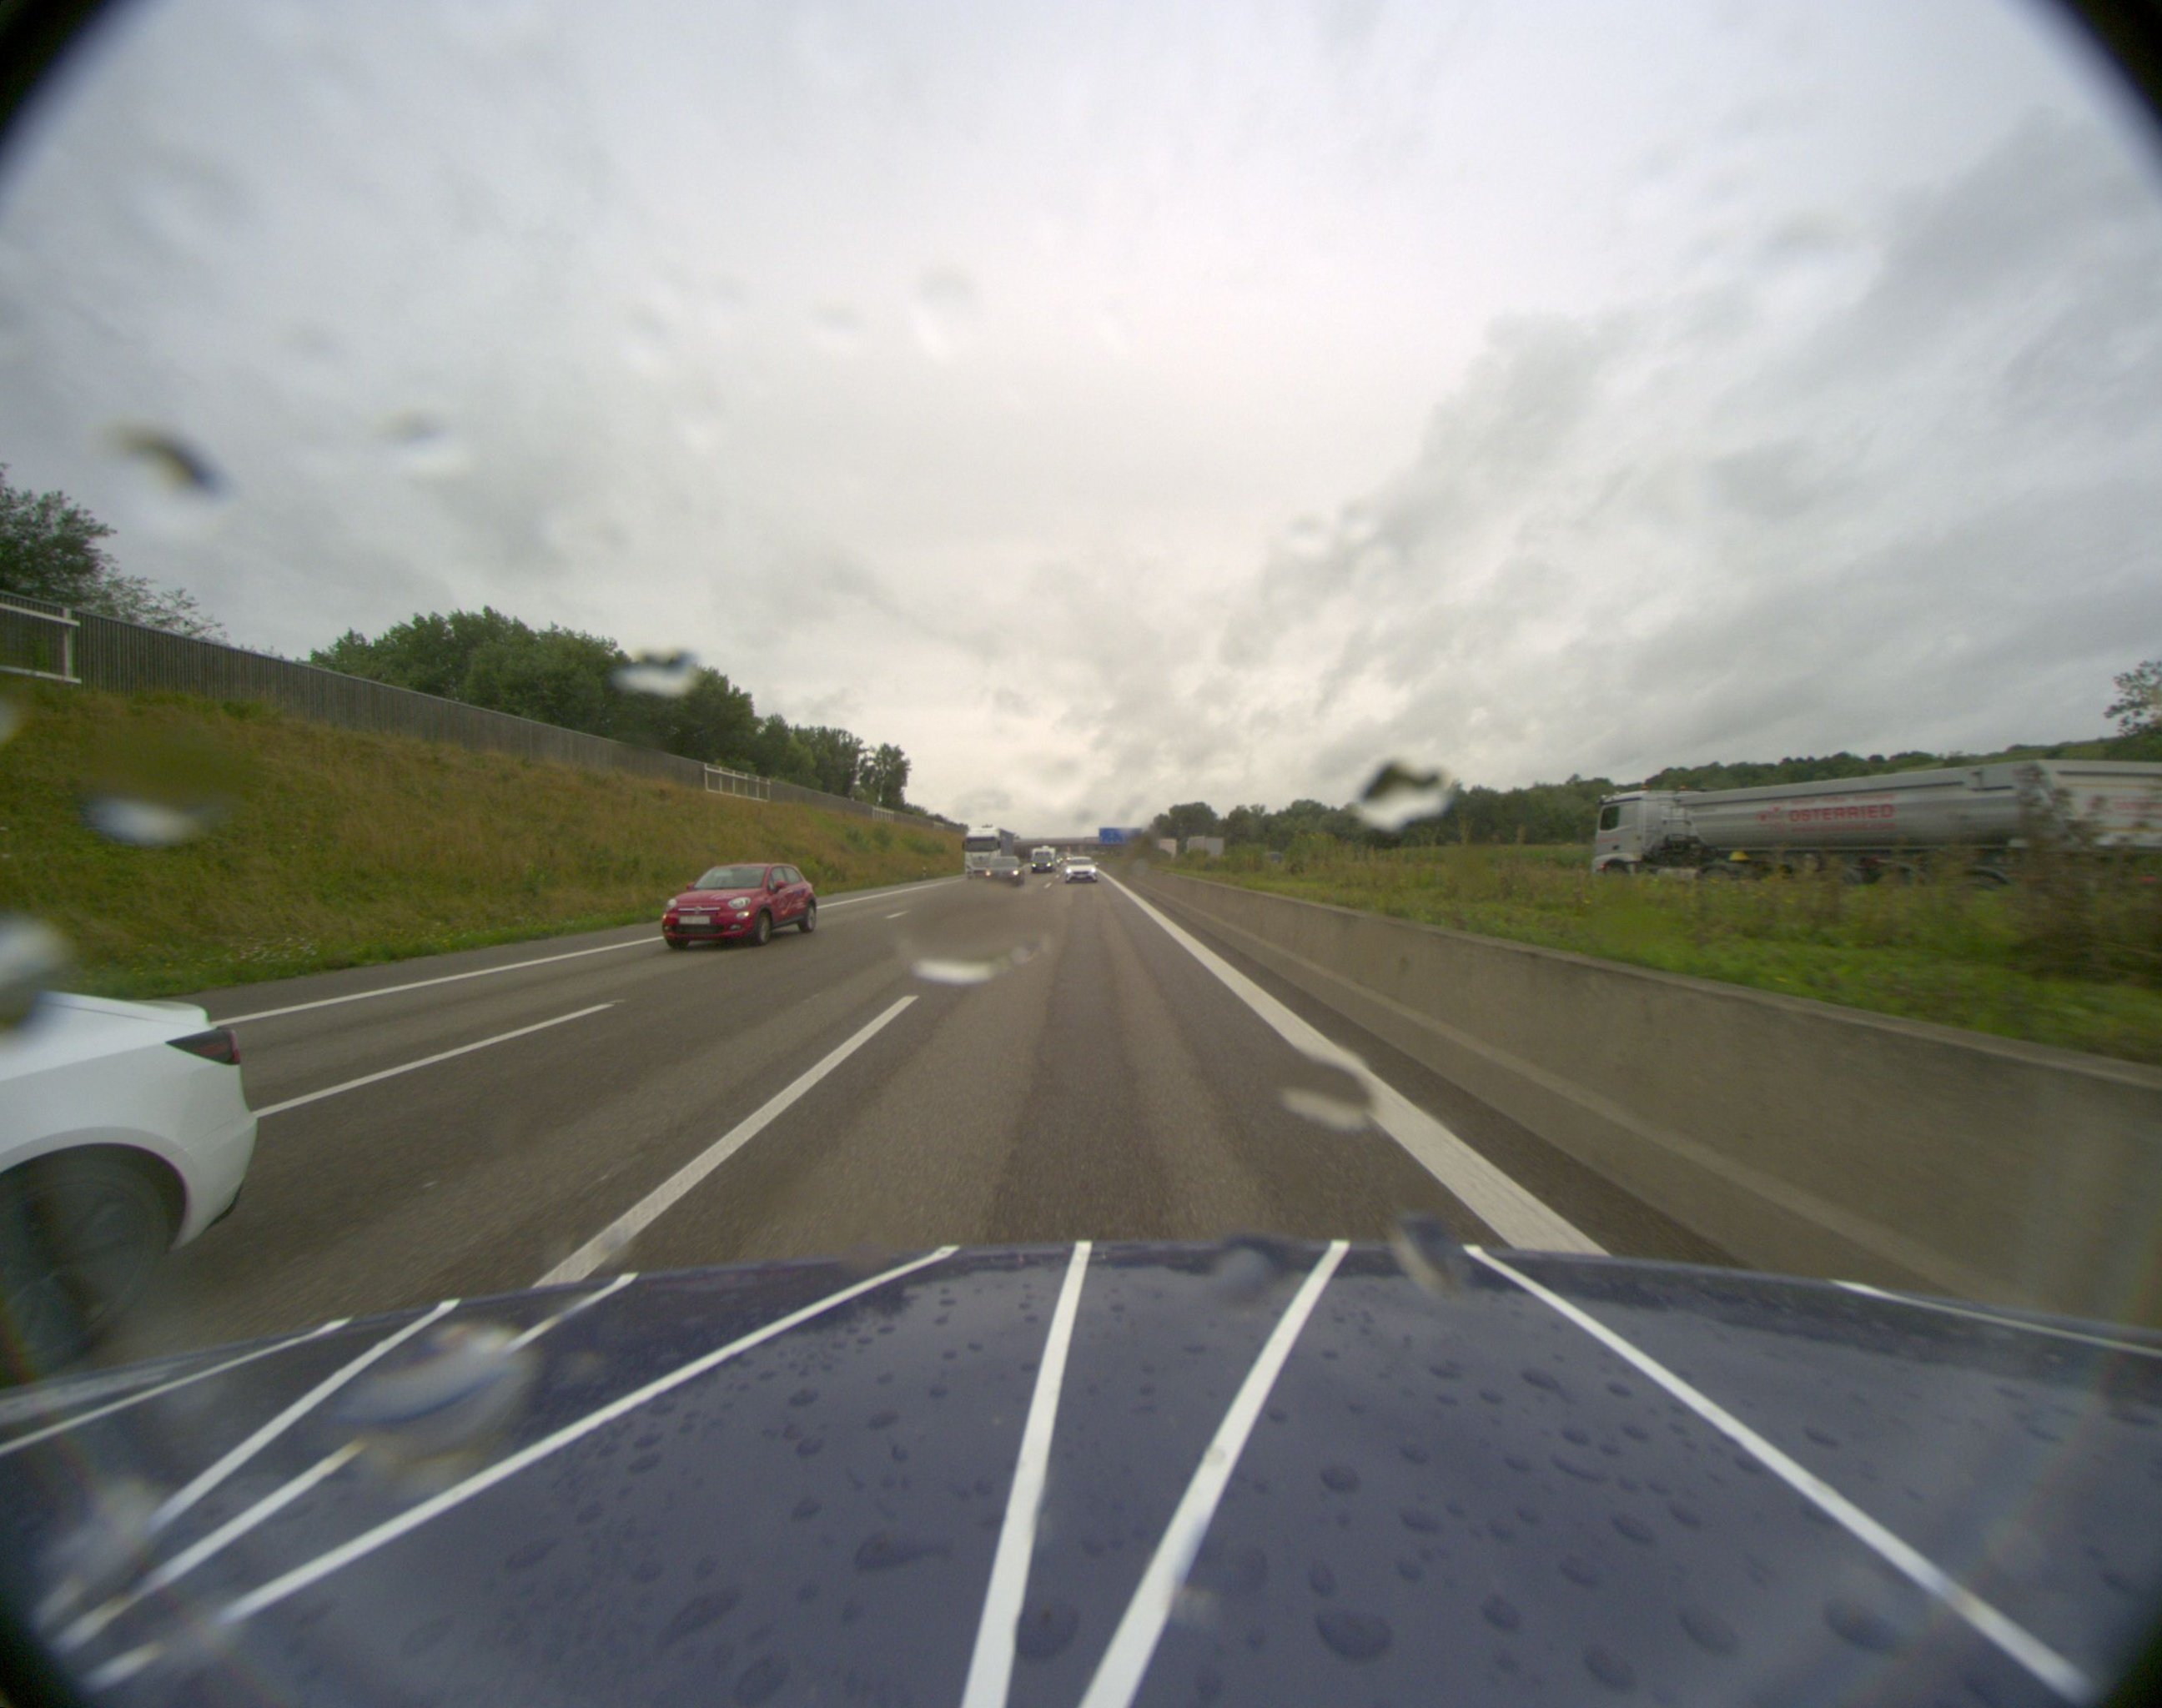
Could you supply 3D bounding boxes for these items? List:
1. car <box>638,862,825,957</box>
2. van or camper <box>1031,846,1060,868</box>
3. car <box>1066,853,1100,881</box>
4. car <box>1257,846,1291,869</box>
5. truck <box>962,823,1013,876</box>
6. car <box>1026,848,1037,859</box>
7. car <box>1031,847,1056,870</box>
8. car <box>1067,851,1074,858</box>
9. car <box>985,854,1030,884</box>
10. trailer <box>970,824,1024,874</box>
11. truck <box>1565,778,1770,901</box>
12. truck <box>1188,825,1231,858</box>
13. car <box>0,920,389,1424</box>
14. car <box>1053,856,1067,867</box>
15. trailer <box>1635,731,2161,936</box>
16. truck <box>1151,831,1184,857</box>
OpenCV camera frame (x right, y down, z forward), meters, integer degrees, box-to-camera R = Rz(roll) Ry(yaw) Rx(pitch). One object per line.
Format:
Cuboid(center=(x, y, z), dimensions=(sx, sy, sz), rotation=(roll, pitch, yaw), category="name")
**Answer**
Cuboid(center=(-6.878, 1.013, 15.490), dimensions=(1.878, 1.526, 3.999), rotation=(-2, 1, 0), category="car")
Cuboid(center=(-3.664, 0.238, 79.137), dimensions=(2.432, 2.139, 6.498), rotation=(-2, 1, 2), category="van or camper")
Cuboid(center=(0.159, 0.725, 44.344), dimensions=(1.840, 1.455, 4.000), rotation=(-2, 1, 1), category="car")
Cuboid(center=(17.979, 0.283, 70.961), dimensions=(1.998, 2.002, 4.480), rotation=(-2, 1, 0), category="car")
Cuboid(center=(-7.490, -0.375, 61.661), dimensions=(3.089, 4.003, 6.955), rotation=(-2, 1, 0), category="truck")
Cuboid(center=(-9.996, -0.120, 153.449), dimensions=(1.998, 2.002, 4.262), rotation=(-1, 0, 0), category="car")
Cuboid(center=(-3.615, 0.406, 73.991), dimensions=(1.998, 2.002, 4.938), rotation=(-2, 1, 2), category="car")
Cuboid(center=(-2.895, 0.123, 210.000), dimensions=(1.999, 1.696, 4.484), rotation=(-2, 0, -2), category="car")
Cuboid(center=(-3.976, 0.772, 41.968), dimensions=(1.929, 1.480, 4.485), rotation=(-2, 1, 1), category="car")
Cuboid(center=(-7.455, -0.505, 69.735), dimensions=(3.089, 4.003, 15.220), rotation=(-2, 1, 0), category="trailer")
Cuboid(center=(17.766, -0.421, 23.407), dimensions=(2.763, 3.324, 4.520), rotation=(-2, 1, 0), category="truck")
Cuboid(center=(18.229, -1.717, 109.342), dimensions=(3.333, 4.317, 16.898), rotation=(-2, 1, 0), category="truck")
Cuboid(center=(-4.142, 1.035, 1.030), dimensions=(1.878, 1.355, 4.812), rotation=(-2, 1, 1), category="car")
Cuboid(center=(-3.235, 1.192, 119.352), dimensions=(1.998, 1.759, 4.000), rotation=(0, 0, 1), category="car")
Cuboid(center=(17.729, -0.407, 17.400), dimensions=(2.794, 3.309, 9.925), rotation=(-2, 1, 0), category="trailer")
Cuboid(center=(14.095, -1.677, 125.458), dimensions=(3.609, 3.858, 16.108), rotation=(-2, 1, 0), category="truck")
